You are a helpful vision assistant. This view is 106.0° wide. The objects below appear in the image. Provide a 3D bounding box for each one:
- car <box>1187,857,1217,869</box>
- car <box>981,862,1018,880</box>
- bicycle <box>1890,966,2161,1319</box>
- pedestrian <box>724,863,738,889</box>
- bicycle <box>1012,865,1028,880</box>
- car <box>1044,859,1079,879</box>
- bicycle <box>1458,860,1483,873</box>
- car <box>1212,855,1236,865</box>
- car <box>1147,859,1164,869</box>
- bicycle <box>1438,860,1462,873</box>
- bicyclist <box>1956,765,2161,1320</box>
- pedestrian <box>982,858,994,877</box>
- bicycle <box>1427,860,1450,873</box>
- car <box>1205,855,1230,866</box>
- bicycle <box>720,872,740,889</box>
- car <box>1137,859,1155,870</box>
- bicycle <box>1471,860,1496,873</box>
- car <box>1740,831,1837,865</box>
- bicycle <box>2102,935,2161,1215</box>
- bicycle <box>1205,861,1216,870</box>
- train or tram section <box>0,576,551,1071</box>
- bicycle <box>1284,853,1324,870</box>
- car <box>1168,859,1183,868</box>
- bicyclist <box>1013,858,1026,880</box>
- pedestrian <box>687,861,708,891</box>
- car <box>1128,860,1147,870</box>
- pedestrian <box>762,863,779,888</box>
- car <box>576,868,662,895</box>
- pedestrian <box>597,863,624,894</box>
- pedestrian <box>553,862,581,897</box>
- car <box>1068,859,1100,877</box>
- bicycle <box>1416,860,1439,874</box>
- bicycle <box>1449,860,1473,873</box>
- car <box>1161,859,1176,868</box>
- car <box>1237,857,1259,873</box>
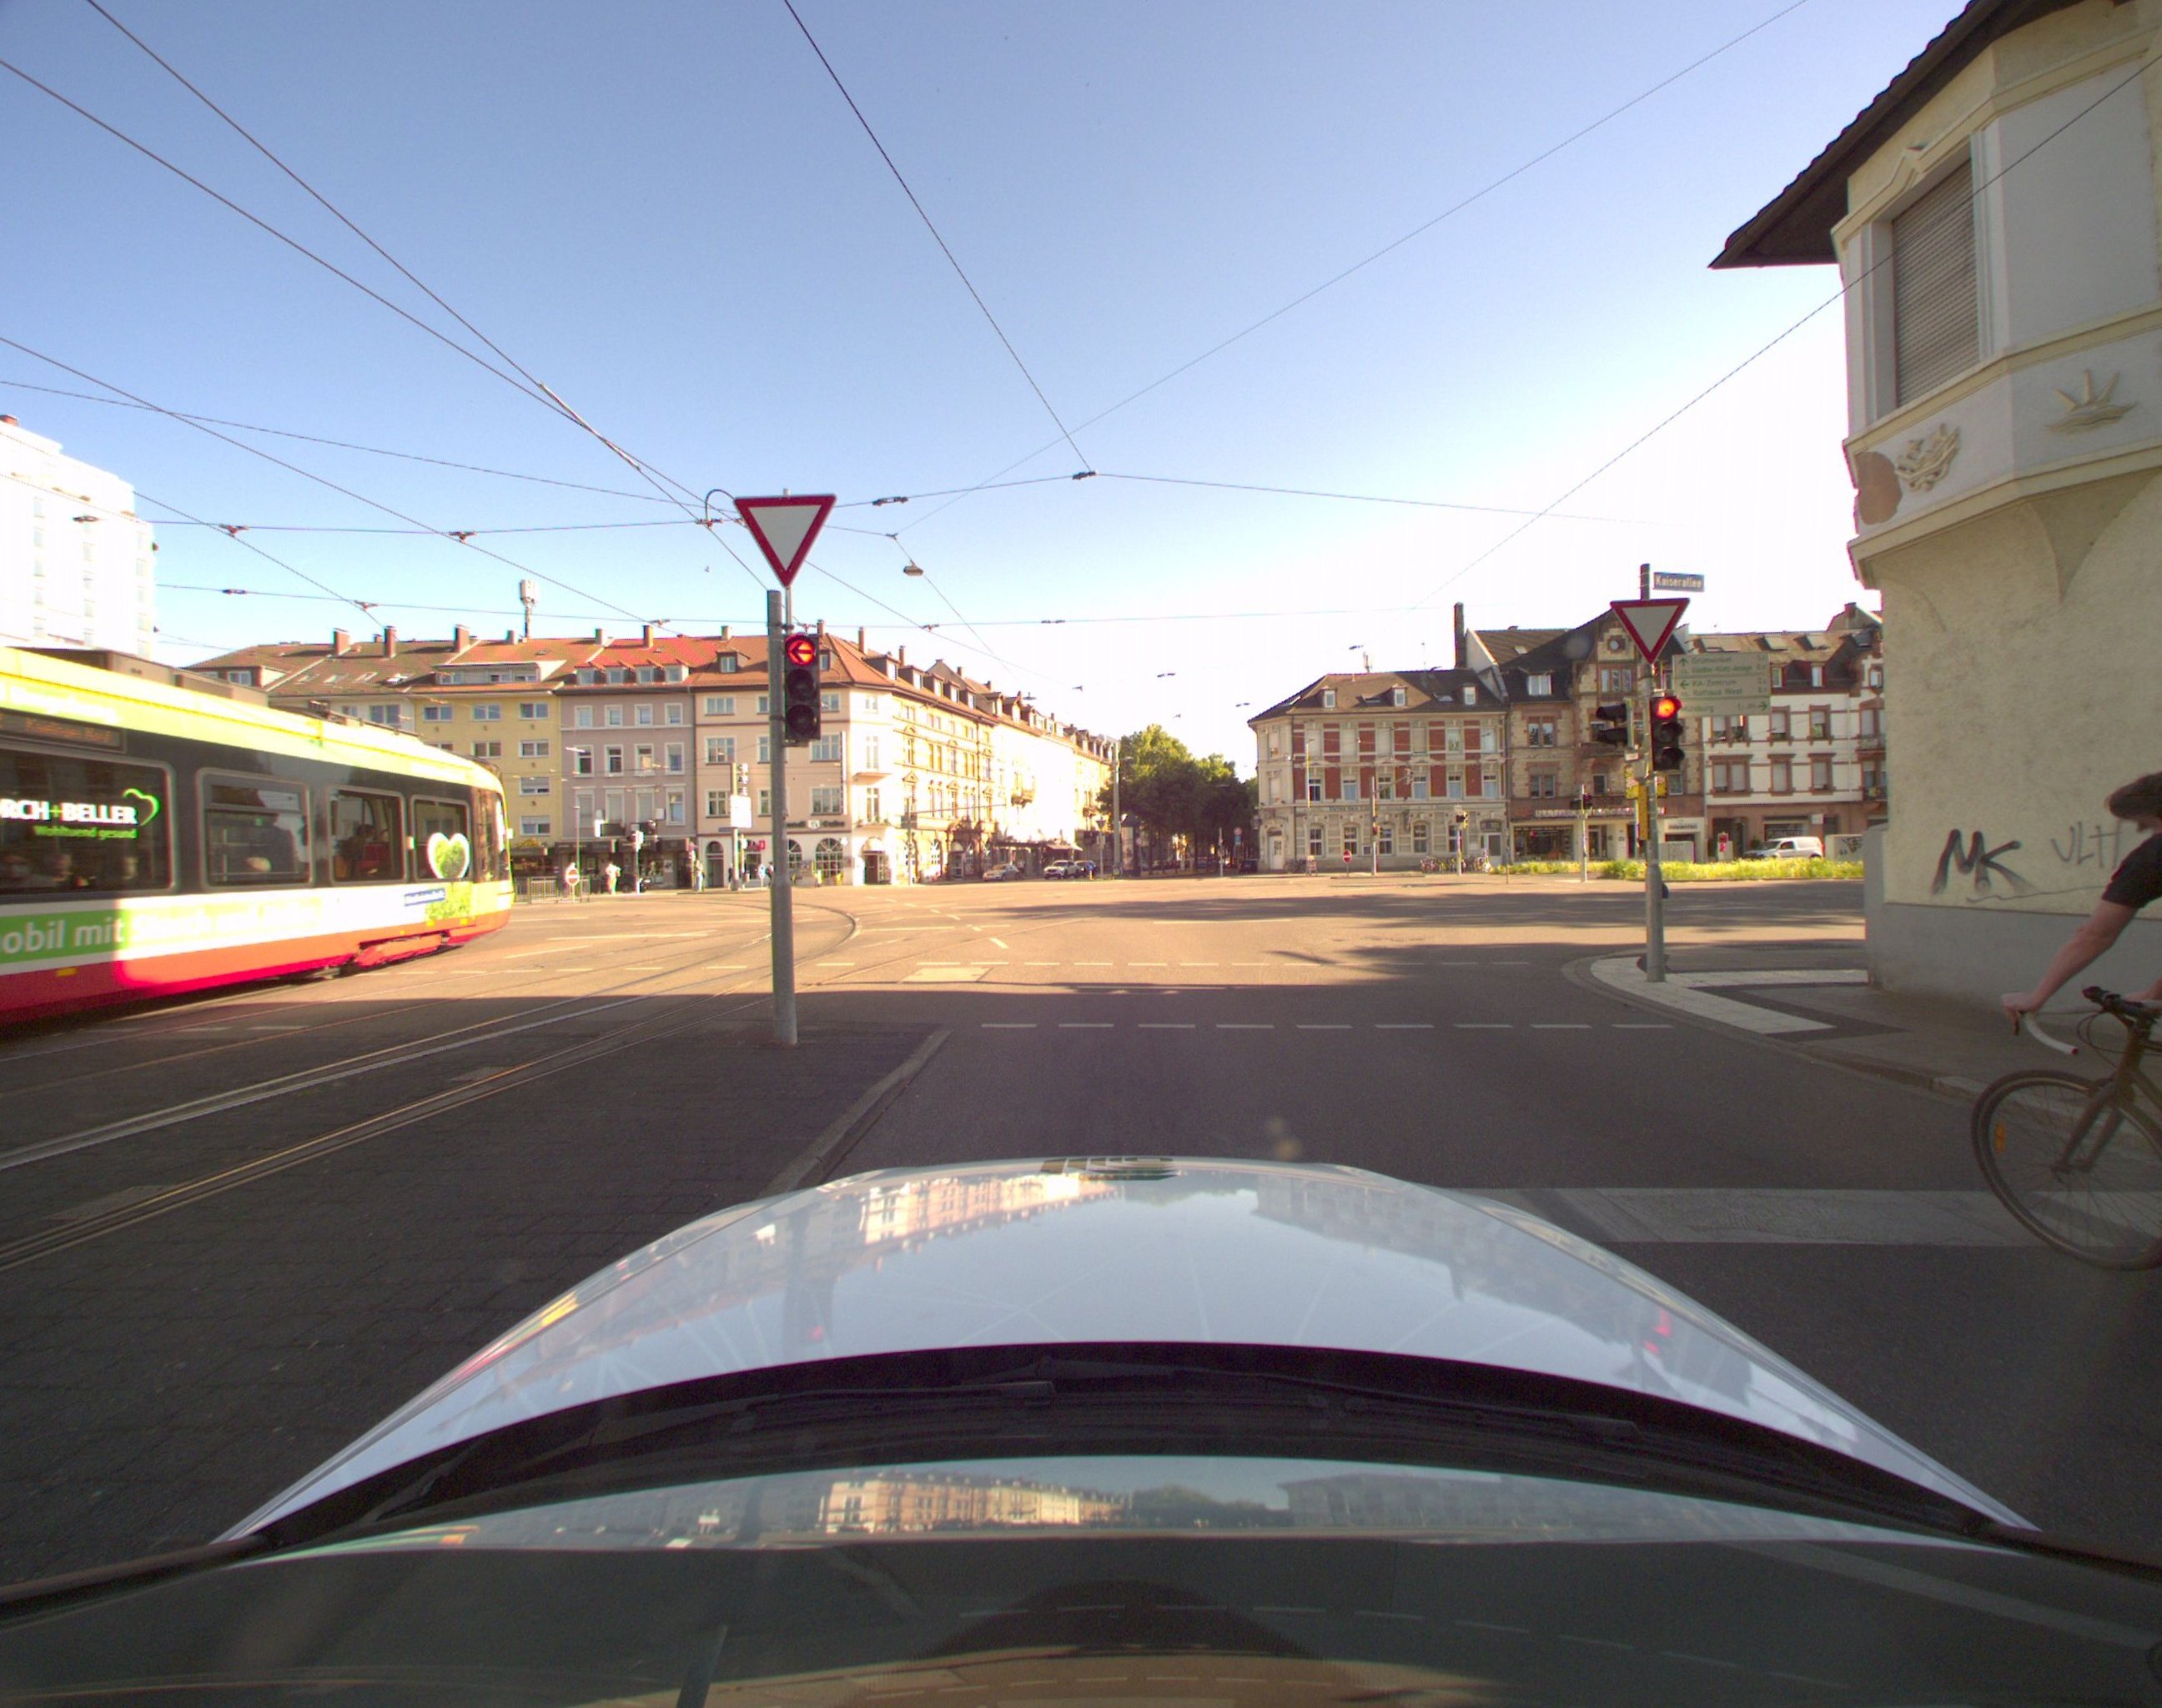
[{"bbox_3d":[17.200,1.258,115.455,3.870,1.648,1.691,-2,0,19],"label":"car"},{"bbox_3d":[-6.708,1.423,67.223,1.664,1.354,3.608,-2,0,19],"label":"car"},{"bbox_3d":[3.608,0.955,2.508,0.516,0.970,1.750,-1,0,2],"label":"bicycle"},{"bbox_3d":[-22.771,1.414,52.965,0.580,1.670,0.753,0,-1,2],"label":"pedestrian"},{"bbox_3d":[-4.893,1.483,65.532,0.696,1.118,1.642,-1,-1,16],"label":"bicycle"},{"bbox_3d":[-1.603,1.213,67.508,1.664,1.483,3.789,-2,0,19],"label":"car"},{"bbox_3d":[25.208,0.805,52.703,0.656,0.840,2.162,0,-1,3],"label":"bicycle"},{"bbox_3d":[23.349,0.968,133.155,3.550,1.648,1.691,-2,0,19],"label":"car"},{"bbox_3d":[11.239,1.539,122.362,1.664,1.354,3.608,-2,0,19],"label":"car"},{"bbox_3d":[23.888,0.815,52.741,0.656,0.840,2.162,0,-1,3],"label":"bicycle"},{"bbox_3d":[3.584,0.574,2.499,0.570,1.701,1.117,-1,0,2],"label":"bicyclist"},{"bbox_3d":[-8.351,1.224,72.795,0.770,1.670,0.834,-1,-1,17],"label":"pedestrian"},{"bbox_3d":[23.164,0.820,52.756,0.656,0.840,2.162,0,-1,3],"label":"bicycle"},{"bbox_3d":[21.444,1.061,127.721,3.550,1.648,1.691,-2,0,19],"label":"car"},{"bbox_3d":[-22.773,1.710,52.879,0.570,1.077,1.497,0,-1,2],"label":"bicycle"},{"bbox_3d":[9.169,1.493,115.446,1.664,1.354,3.608,-2,0,19],"label":"car"},{"bbox_3d":[26.012,0.799,52.718,0.656,0.840,2.162,0,-1,3],"label":"bicycle"},{"bbox_3d":[45.446,-0.379,52.405,4.406,2.013,2.002,-1,0,4],"label":"car"},{"bbox_3d":[4.494,0.916,2.523,0.515,1.090,1.799,-1,2,5],"label":"bicycle"},{"bbox_3d":[15.768,1.392,99.279,0.636,1.021,1.839,0,-1,-12],"label":"bicycle"},{"bbox_3d":[-10.654,-0.185,9.938,2.935,3.814,12.067,-1,0,-13],"label":"train or tram section"},{"bbox_3d":[15.606,0.500,57.059,2.547,1.174,0.818,0,-1,-1],"label":"bicycle"},{"bbox_3d":[15.714,1.523,135.601,1.664,1.354,3.608,-2,0,19],"label":"car"},{"bbox_3d":[-4.939,1.207,65.412,0.772,1.803,1.060,-1,-1,16],"label":"bicyclist"},{"bbox_3d":[-19.921,1.138,42.286,0.545,1.577,0.838,-1,-1,29],"label":"pedestrian"},{"bbox_3d":[7.695,1.490,111.322,1.664,1.354,3.608,-2,0,19],"label":"car"},{"bbox_3d":[-19.871,1.397,52.125,0.838,1.577,0.718,0,-1,-45],"label":"pedestrian"},{"bbox_3d":[-30.362,1.785,53.632,4.347,1.711,2.308,0,-1,4],"label":"car"},{"bbox_3d":[-24.581,1.283,42.563,0.842,1.577,0.836,-1,-1,11],"label":"pedestrian"},{"bbox_3d":[-23.685,1.177,37.520,0.657,1.577,0.889,-1,-1,29],"label":"pedestrian"},{"bbox_3d":[0.308,1.240,73.768,1.664,1.483,3.967,-2,0,19],"label":"car"},{"bbox_3d":[22.429,0.825,52.697,0.656,0.840,2.162,0,-1,3],"label":"bicycle"},{"bbox_3d":[24.571,0.810,52.749,0.656,0.840,2.162,0,-1,3],"label":"bicycle"},{"bbox_3d":[14.028,1.503,130.608,1.664,1.354,3.608,-2,0,19],"label":"car"},{"bbox_3d":[16.904,1.097,82.334,1.664,1.483,3.967,-2,0,19],"label":"car"}]
